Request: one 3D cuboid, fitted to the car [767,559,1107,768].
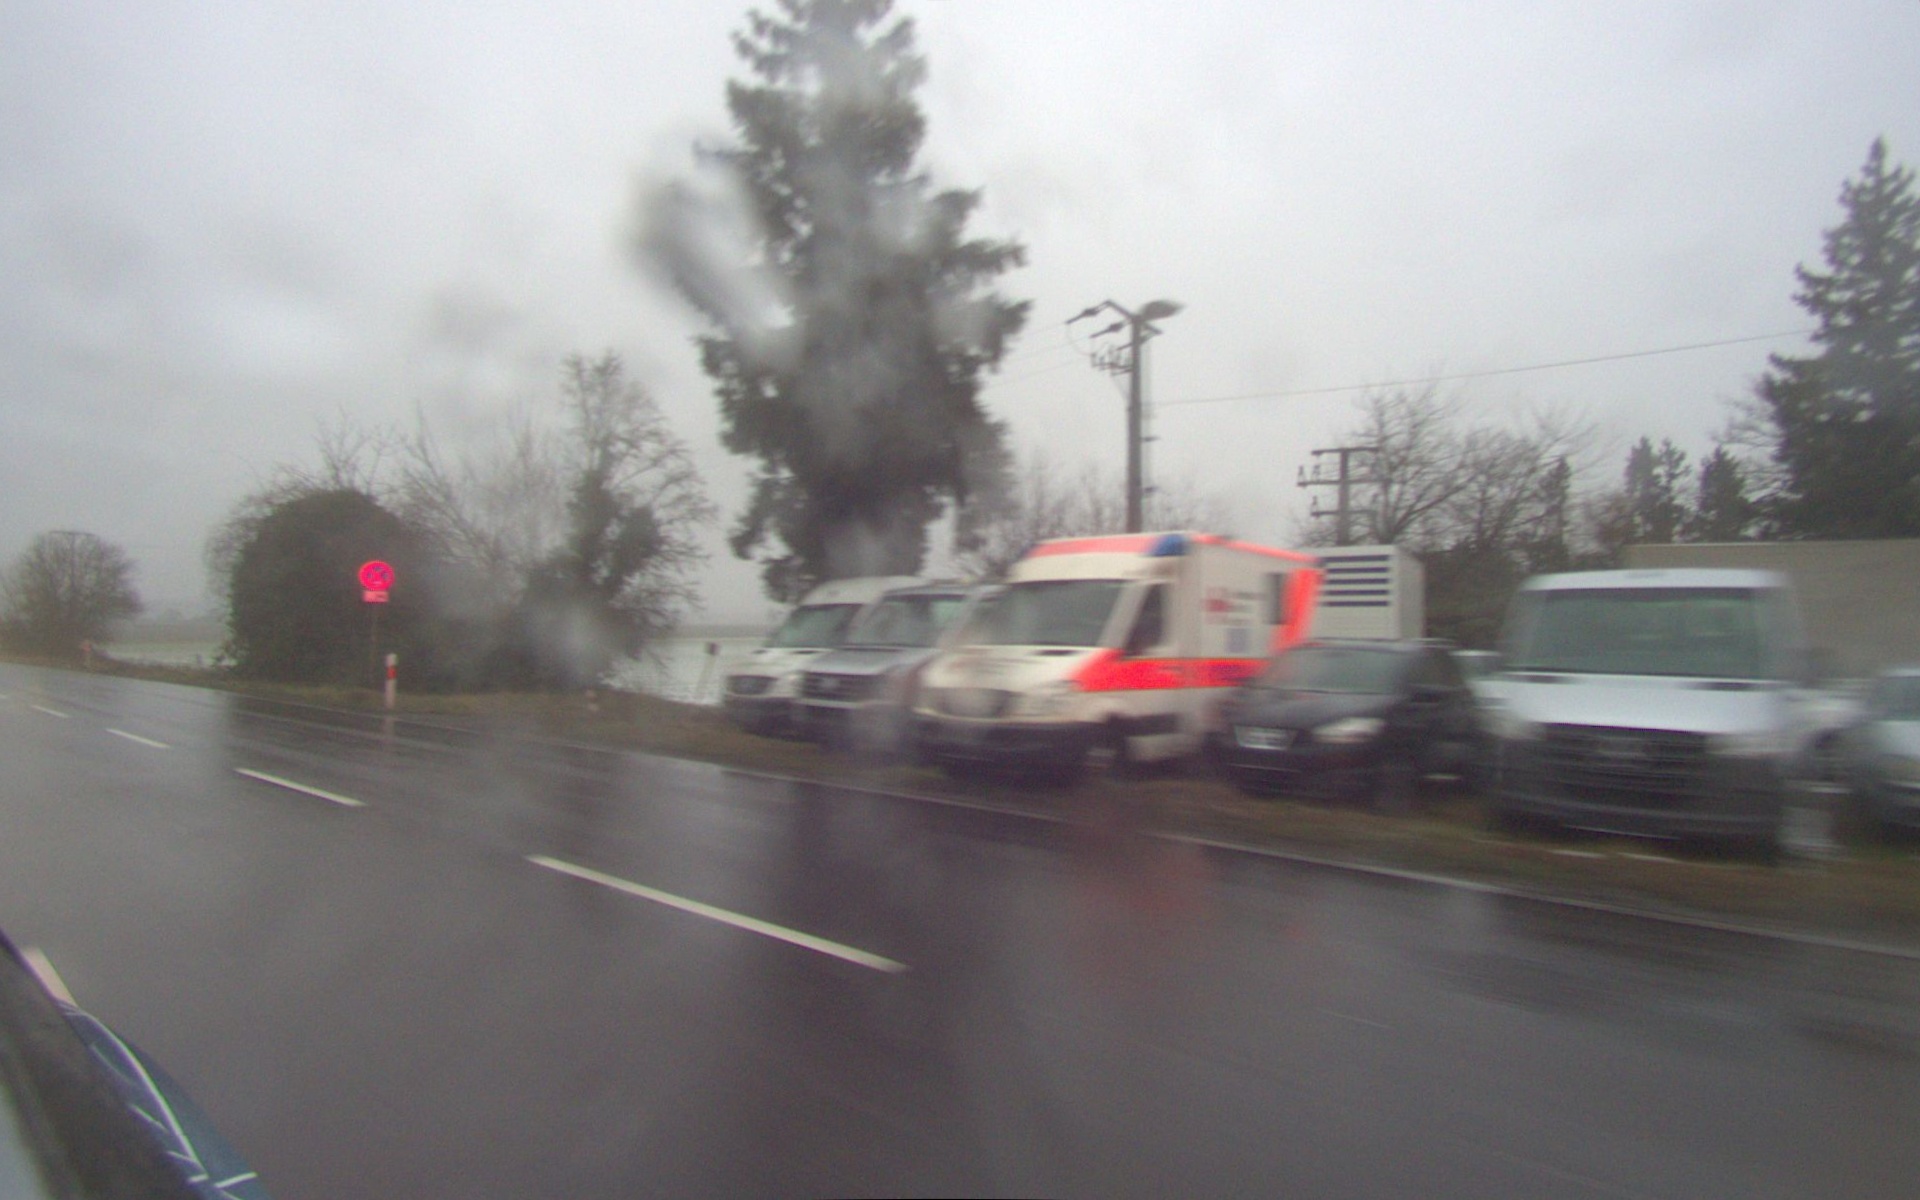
[{"bbox_3d":[-0.105,0.817,13.495,1.986,2.290,4.619,-2,-4,39],"label":"car"}]

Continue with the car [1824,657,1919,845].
[{"bbox_3d":[9.090,1.223,8.934,1.838,1.394,3.951,-3,-4,36],"label":"car"}]

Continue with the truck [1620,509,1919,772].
[{"bbox_3d":[12.982,0.595,14.437,5.841,3.481,2.012,-1,-4,36],"label":"truck"}]

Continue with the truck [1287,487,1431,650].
[{"bbox_3d":[12.495,-0.851,31.139,2.994,4.293,8.628,-1,0,29],"label":"truck"}]

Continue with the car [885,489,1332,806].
[{"bbox_3d":[2.059,0.550,11.536,2.174,2.652,6.093,-2,-4,40],"label":"car"}]

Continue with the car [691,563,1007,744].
[{"bbox_3d":[-1.550,0.842,16.160,2.078,2.408,5.053,-1,-4,37],"label":"car"}]

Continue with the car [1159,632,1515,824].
[{"bbox_3d":[4.049,1.132,10.340,1.953,1.494,4.700,-2,-4,40],"label":"car"}]

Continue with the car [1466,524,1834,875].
[{"bbox_3d":[6.241,0.755,8.909,2.057,2.167,5.093,-2,-4,40],"label":"car"}]
